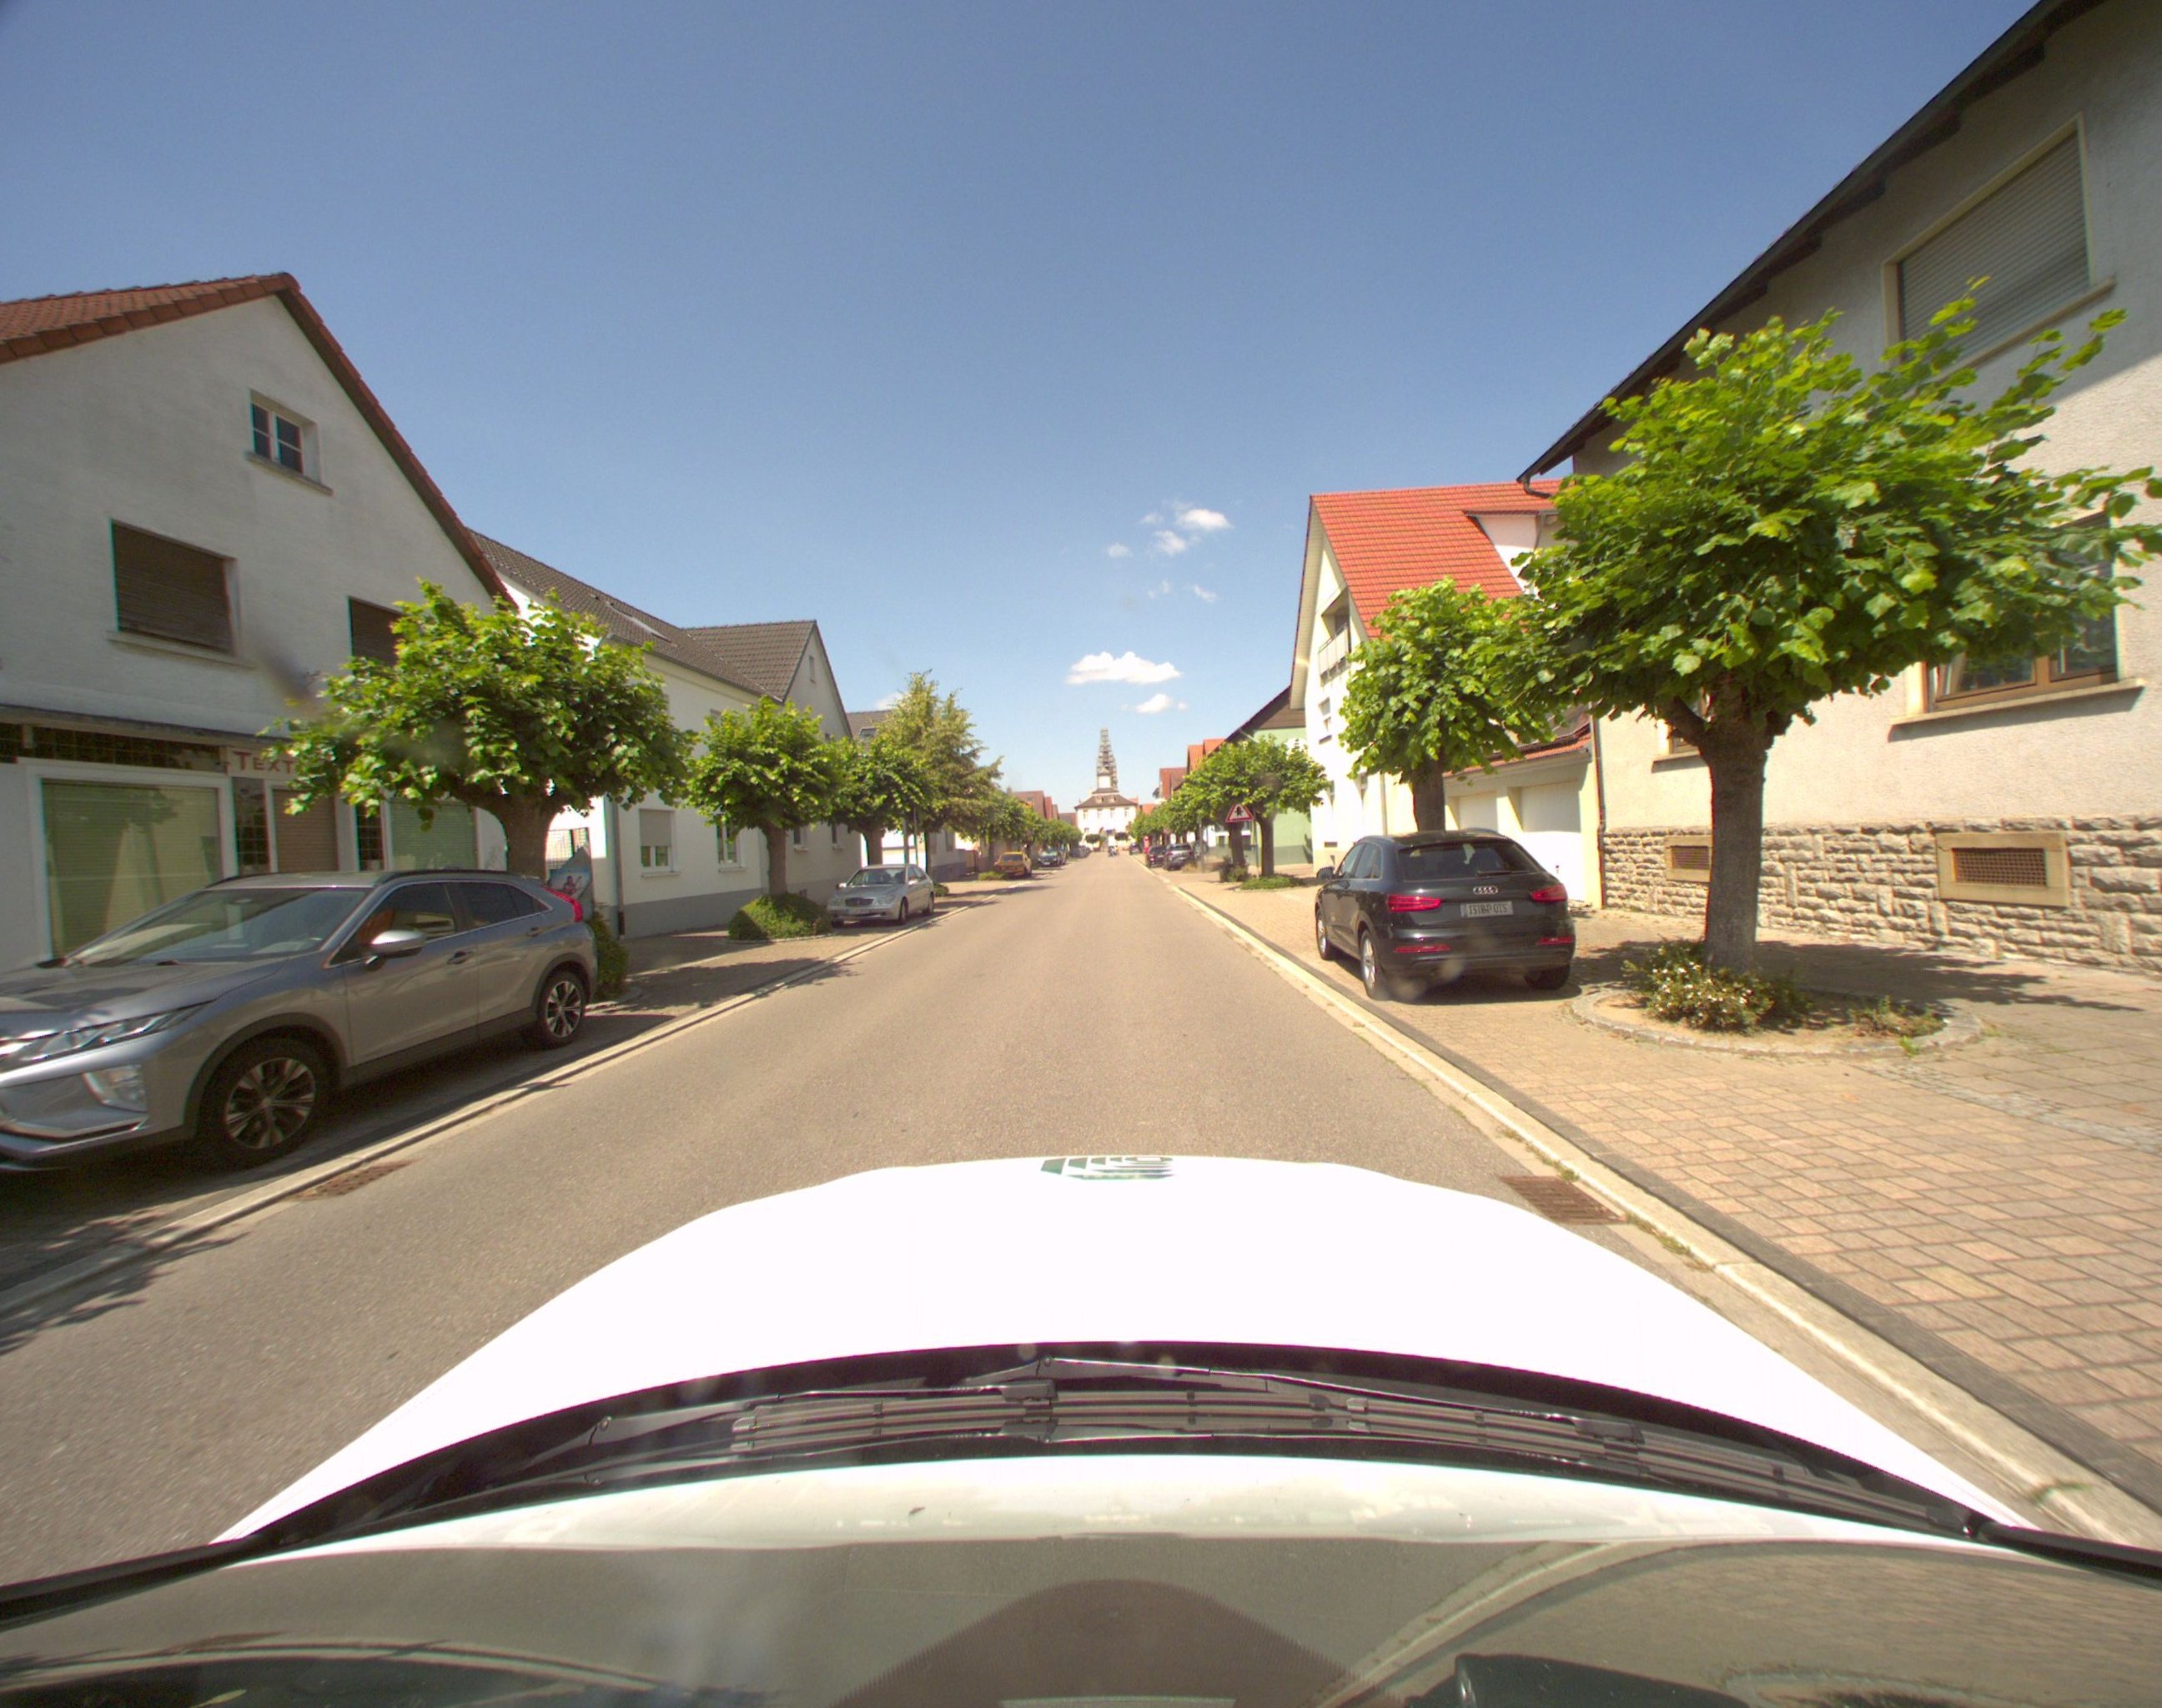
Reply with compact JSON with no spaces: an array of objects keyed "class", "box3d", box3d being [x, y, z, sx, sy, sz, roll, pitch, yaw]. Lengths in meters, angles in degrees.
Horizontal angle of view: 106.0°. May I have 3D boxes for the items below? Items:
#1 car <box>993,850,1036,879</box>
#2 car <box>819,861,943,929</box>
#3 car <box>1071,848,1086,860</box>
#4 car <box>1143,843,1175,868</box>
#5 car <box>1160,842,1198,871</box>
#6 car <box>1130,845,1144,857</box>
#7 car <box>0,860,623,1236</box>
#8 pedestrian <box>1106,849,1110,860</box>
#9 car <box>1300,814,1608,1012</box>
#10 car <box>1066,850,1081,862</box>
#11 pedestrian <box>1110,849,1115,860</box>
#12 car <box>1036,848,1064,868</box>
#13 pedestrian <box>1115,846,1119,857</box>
[{"class":"car","box3d":[-4.026,0.617,50.106,1.985,1.611,4.693,-1,0,3]},{"class":"car","box3d":[-4.821,0.928,20.326,1.834,1.396,4.408,-2,0,2]},{"class":"car","box3d":[-0.348,0.018,120.146,1.985,1.611,3.858,-1,0,3]},{"class":"car","box3d":[5.439,0.090,57.027,1.830,1.555,4.315,-5,0,2]},{"class":"car","box3d":[5.906,0.142,49.382,1.831,1.607,4.001,-3,0,1]},{"class":"car","box3d":[8.189,-0.436,120.135,1.830,1.555,4.317,-5,0,3]},{"class":"car","box3d":[-5.548,0.939,5.883,1.988,1.652,4.365,-3,0,-1]},{"class":"pedestrian","box3d":[3.501,0.091,106.385,0.354,1.403,0.322,-3,0,39]},{"class":"car","box3d":[3.749,0.486,9.049,1.815,1.586,4.064,-4,0,6]},{"class":"car","box3d":[-1.074,0.320,114.418,1.750,1.555,4.023,-3,0,3]},{"class":"pedestrian","box3d":[4.106,0.079,106.484,0.354,1.403,0.322,-3,0,39]},{"class":"car","box3d":[-2.680,0.334,71.354,1.985,1.611,4.693,-1,1,3]},{"class":"pedestrian","box3d":[4.657,-0.385,105.516,0.354,1.403,0.322,-3,0,39]}]
